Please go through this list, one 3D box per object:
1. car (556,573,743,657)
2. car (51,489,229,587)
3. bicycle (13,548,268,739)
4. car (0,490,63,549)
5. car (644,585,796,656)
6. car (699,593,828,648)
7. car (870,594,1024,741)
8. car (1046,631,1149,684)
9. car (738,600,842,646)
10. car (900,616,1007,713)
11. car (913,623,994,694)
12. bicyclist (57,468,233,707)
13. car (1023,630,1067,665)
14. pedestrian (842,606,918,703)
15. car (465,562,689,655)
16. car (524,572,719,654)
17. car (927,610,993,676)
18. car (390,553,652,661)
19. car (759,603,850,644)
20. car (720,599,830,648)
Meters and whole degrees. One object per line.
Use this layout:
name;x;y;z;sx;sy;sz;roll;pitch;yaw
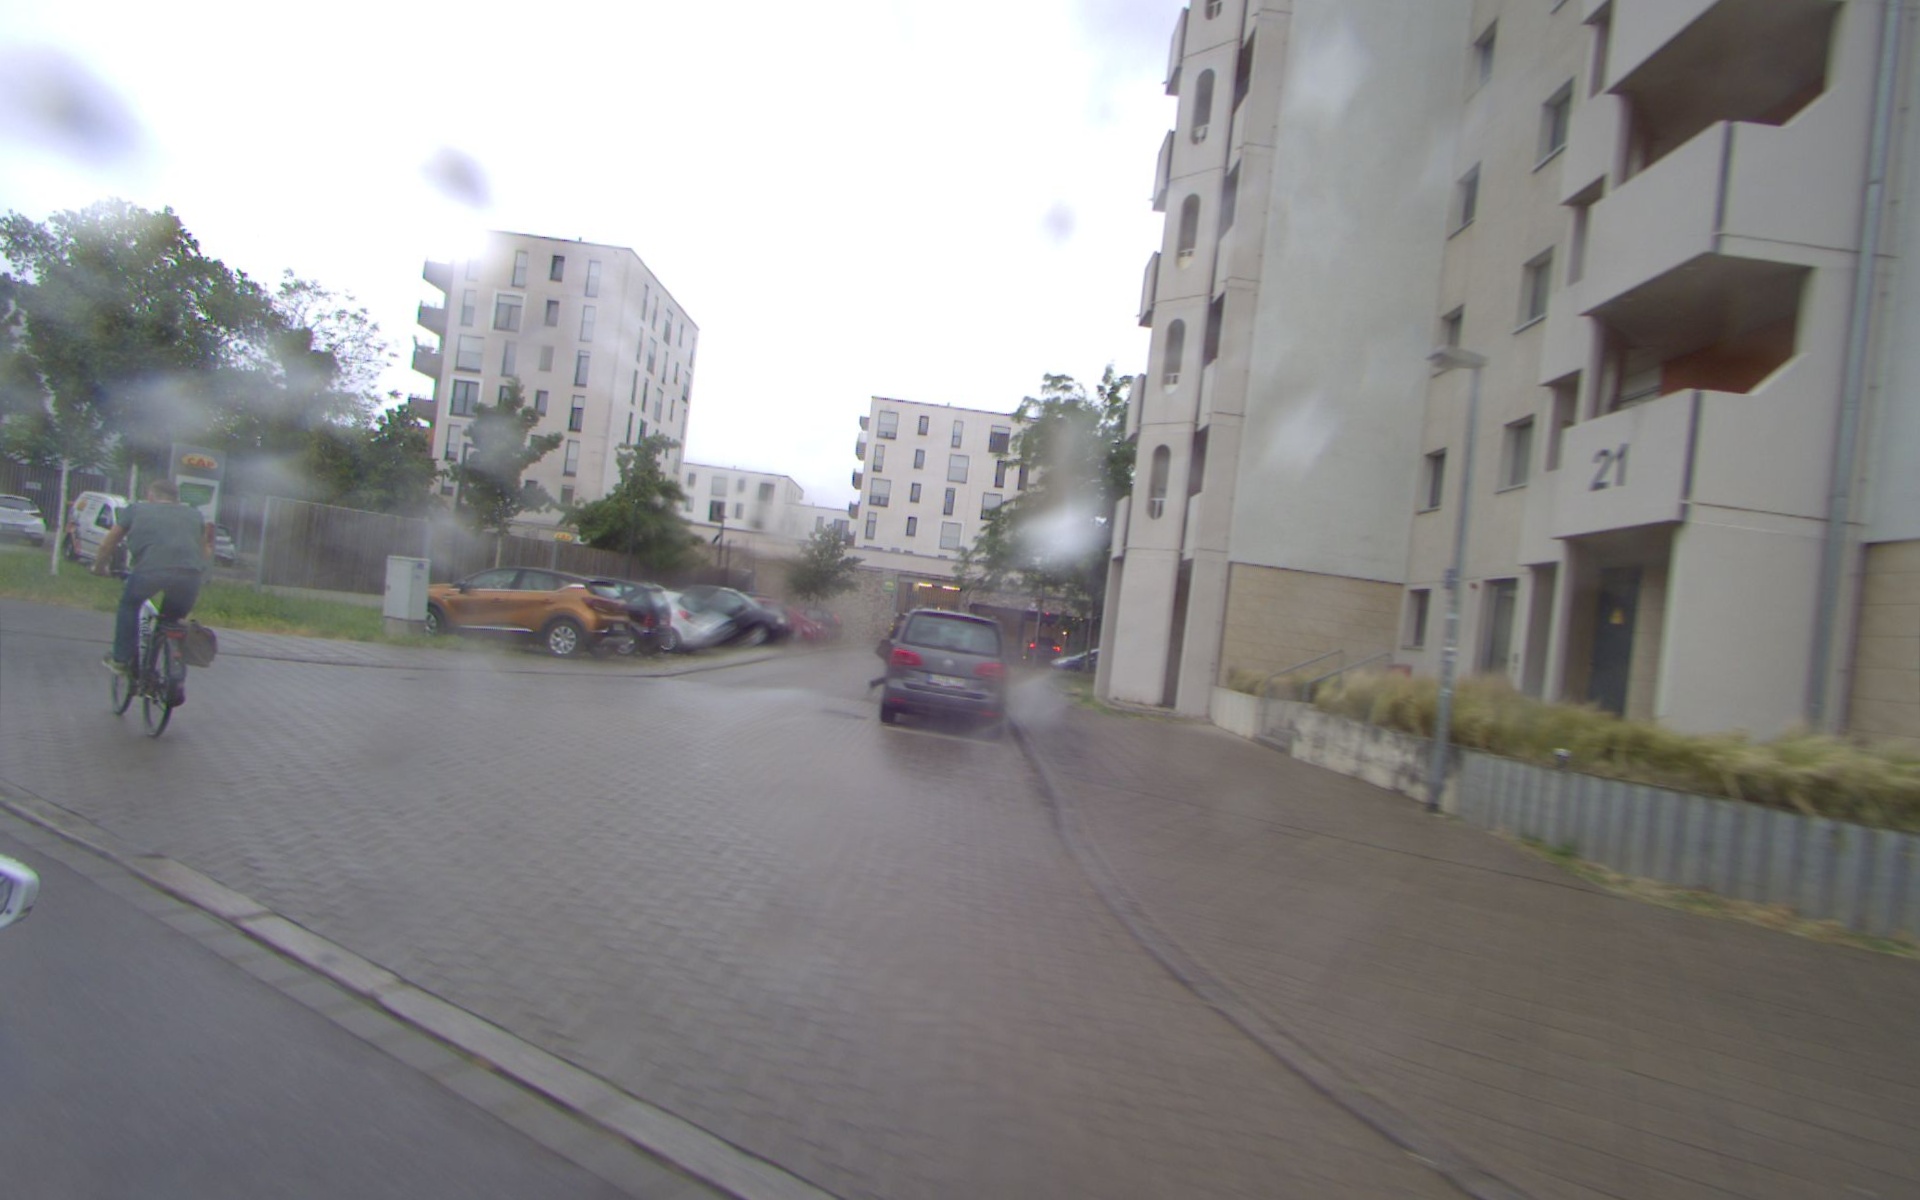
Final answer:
car;-8.271;0.421;27.129;4.285;1.605;1.970;8;-1;-3
car;-20.168;-1.540;24.685;4.819;1.805;1.966;7;-1;34
bicycle;-5.813;0.280;7.110;1.914;1.105;0.538;6;-2;26
car;-30.226;-2.660;31.628;4.294;1.552;1.966;7;-2;35
car;-7.667;0.665;32.447;4.285;1.628;1.970;8;-1;-3
car;-7.328;0.784;37.872;4.282;1.448;1.971;8;-1;3
car;-0.138;0.967;15.005;1.781;1.634;4.117;8;-2;1
car;5.740;2.418;42.379;3.926;1.703;2.002;7;-2;1
car;-7.244;1.021;43.195;3.925;1.457;2.002;7;-2;2
car;-0.085;1.296;20.698;1.781;1.550;4.117;8;-2;1
car;-0.130;1.515;26.327;1.782;1.491;3.801;8;-2;1
bicyclist;-5.749;-0.083;7.108;0.759;1.577;0.535;6;-1;25
car;4.853;2.711;57.851;1.963;1.703;4.003;7;-2;-1
pedestrian;-1.383;0.953;17.630;1.074;1.535;0.839;7;-1;2
car;-8.212;0.218;21.808;3.924;1.457;2.002;7;-2;3
car;-8.187;0.348;24.592;3.924;1.457;2.002;7;-2;3
car;-0.033;1.543;35.939;1.959;1.940;4.281;8;-2;-1
car;-8.161;0.173;18.965;3.924;1.457;2.002;7;-2;3
car;-7.438;1.138;48.388;3.926;1.457;2.002;7;-2;0
car;-7.412;0.981;40.586;3.925;1.457;2.002;7;-2;2
